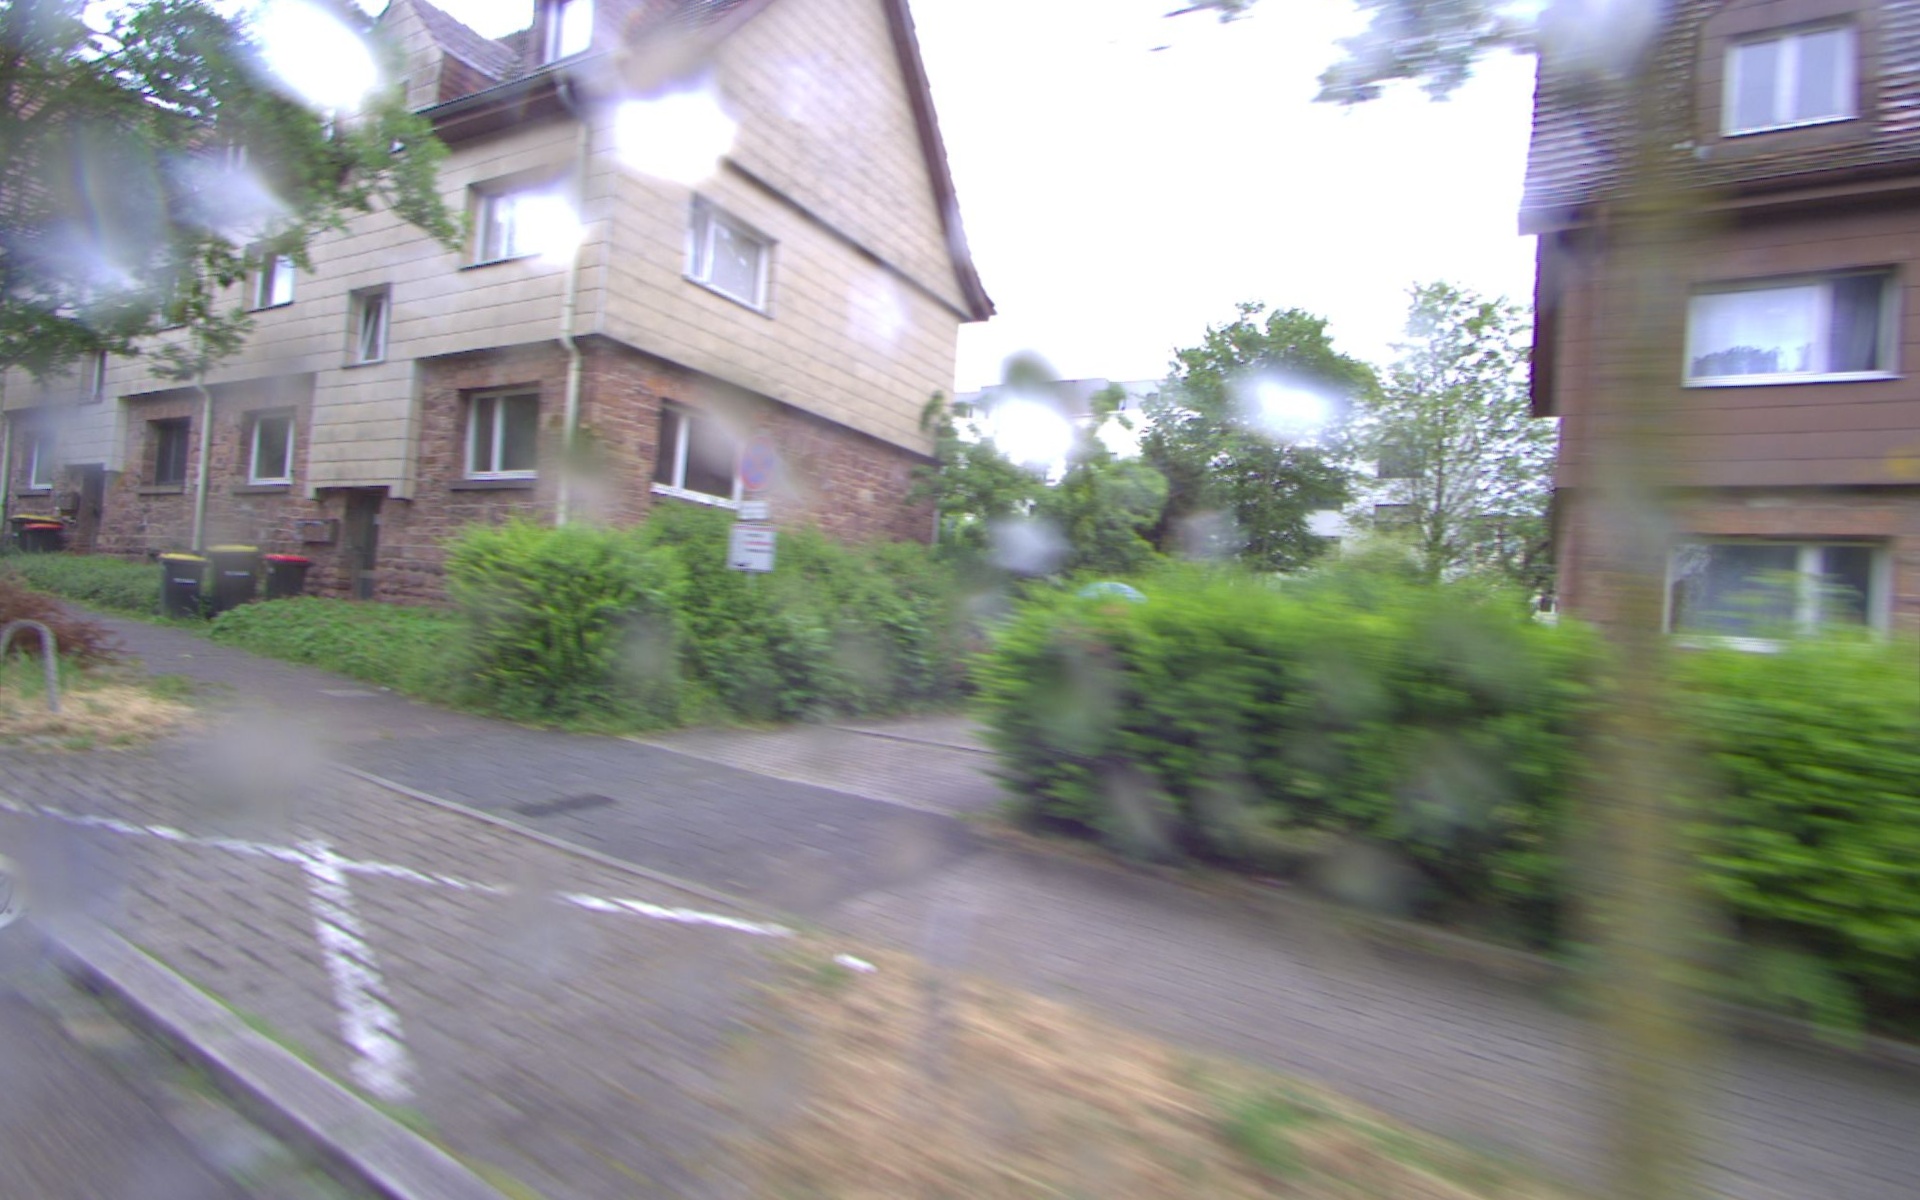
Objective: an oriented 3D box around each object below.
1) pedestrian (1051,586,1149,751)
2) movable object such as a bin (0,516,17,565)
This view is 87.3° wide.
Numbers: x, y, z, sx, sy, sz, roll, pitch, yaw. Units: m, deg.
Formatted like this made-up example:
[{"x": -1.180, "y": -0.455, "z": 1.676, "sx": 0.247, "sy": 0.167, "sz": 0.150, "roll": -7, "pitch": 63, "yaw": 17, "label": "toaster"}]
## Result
[{"x": 1.548, "y": 0.747, "z": 11.131, "sx": 0.643, "sy": 1.701, "sz": 0.707, "roll": 7, "pitch": 2, "yaw": 37, "label": "pedestrian"}, {"x": -20.250, "y": -1.297, "z": 20.867, "sx": 0.926, "sy": 0.976, "sz": 0.701, "roll": 7, "pitch": -1, "yaw": 32, "label": "movable object such as a bin"}]
